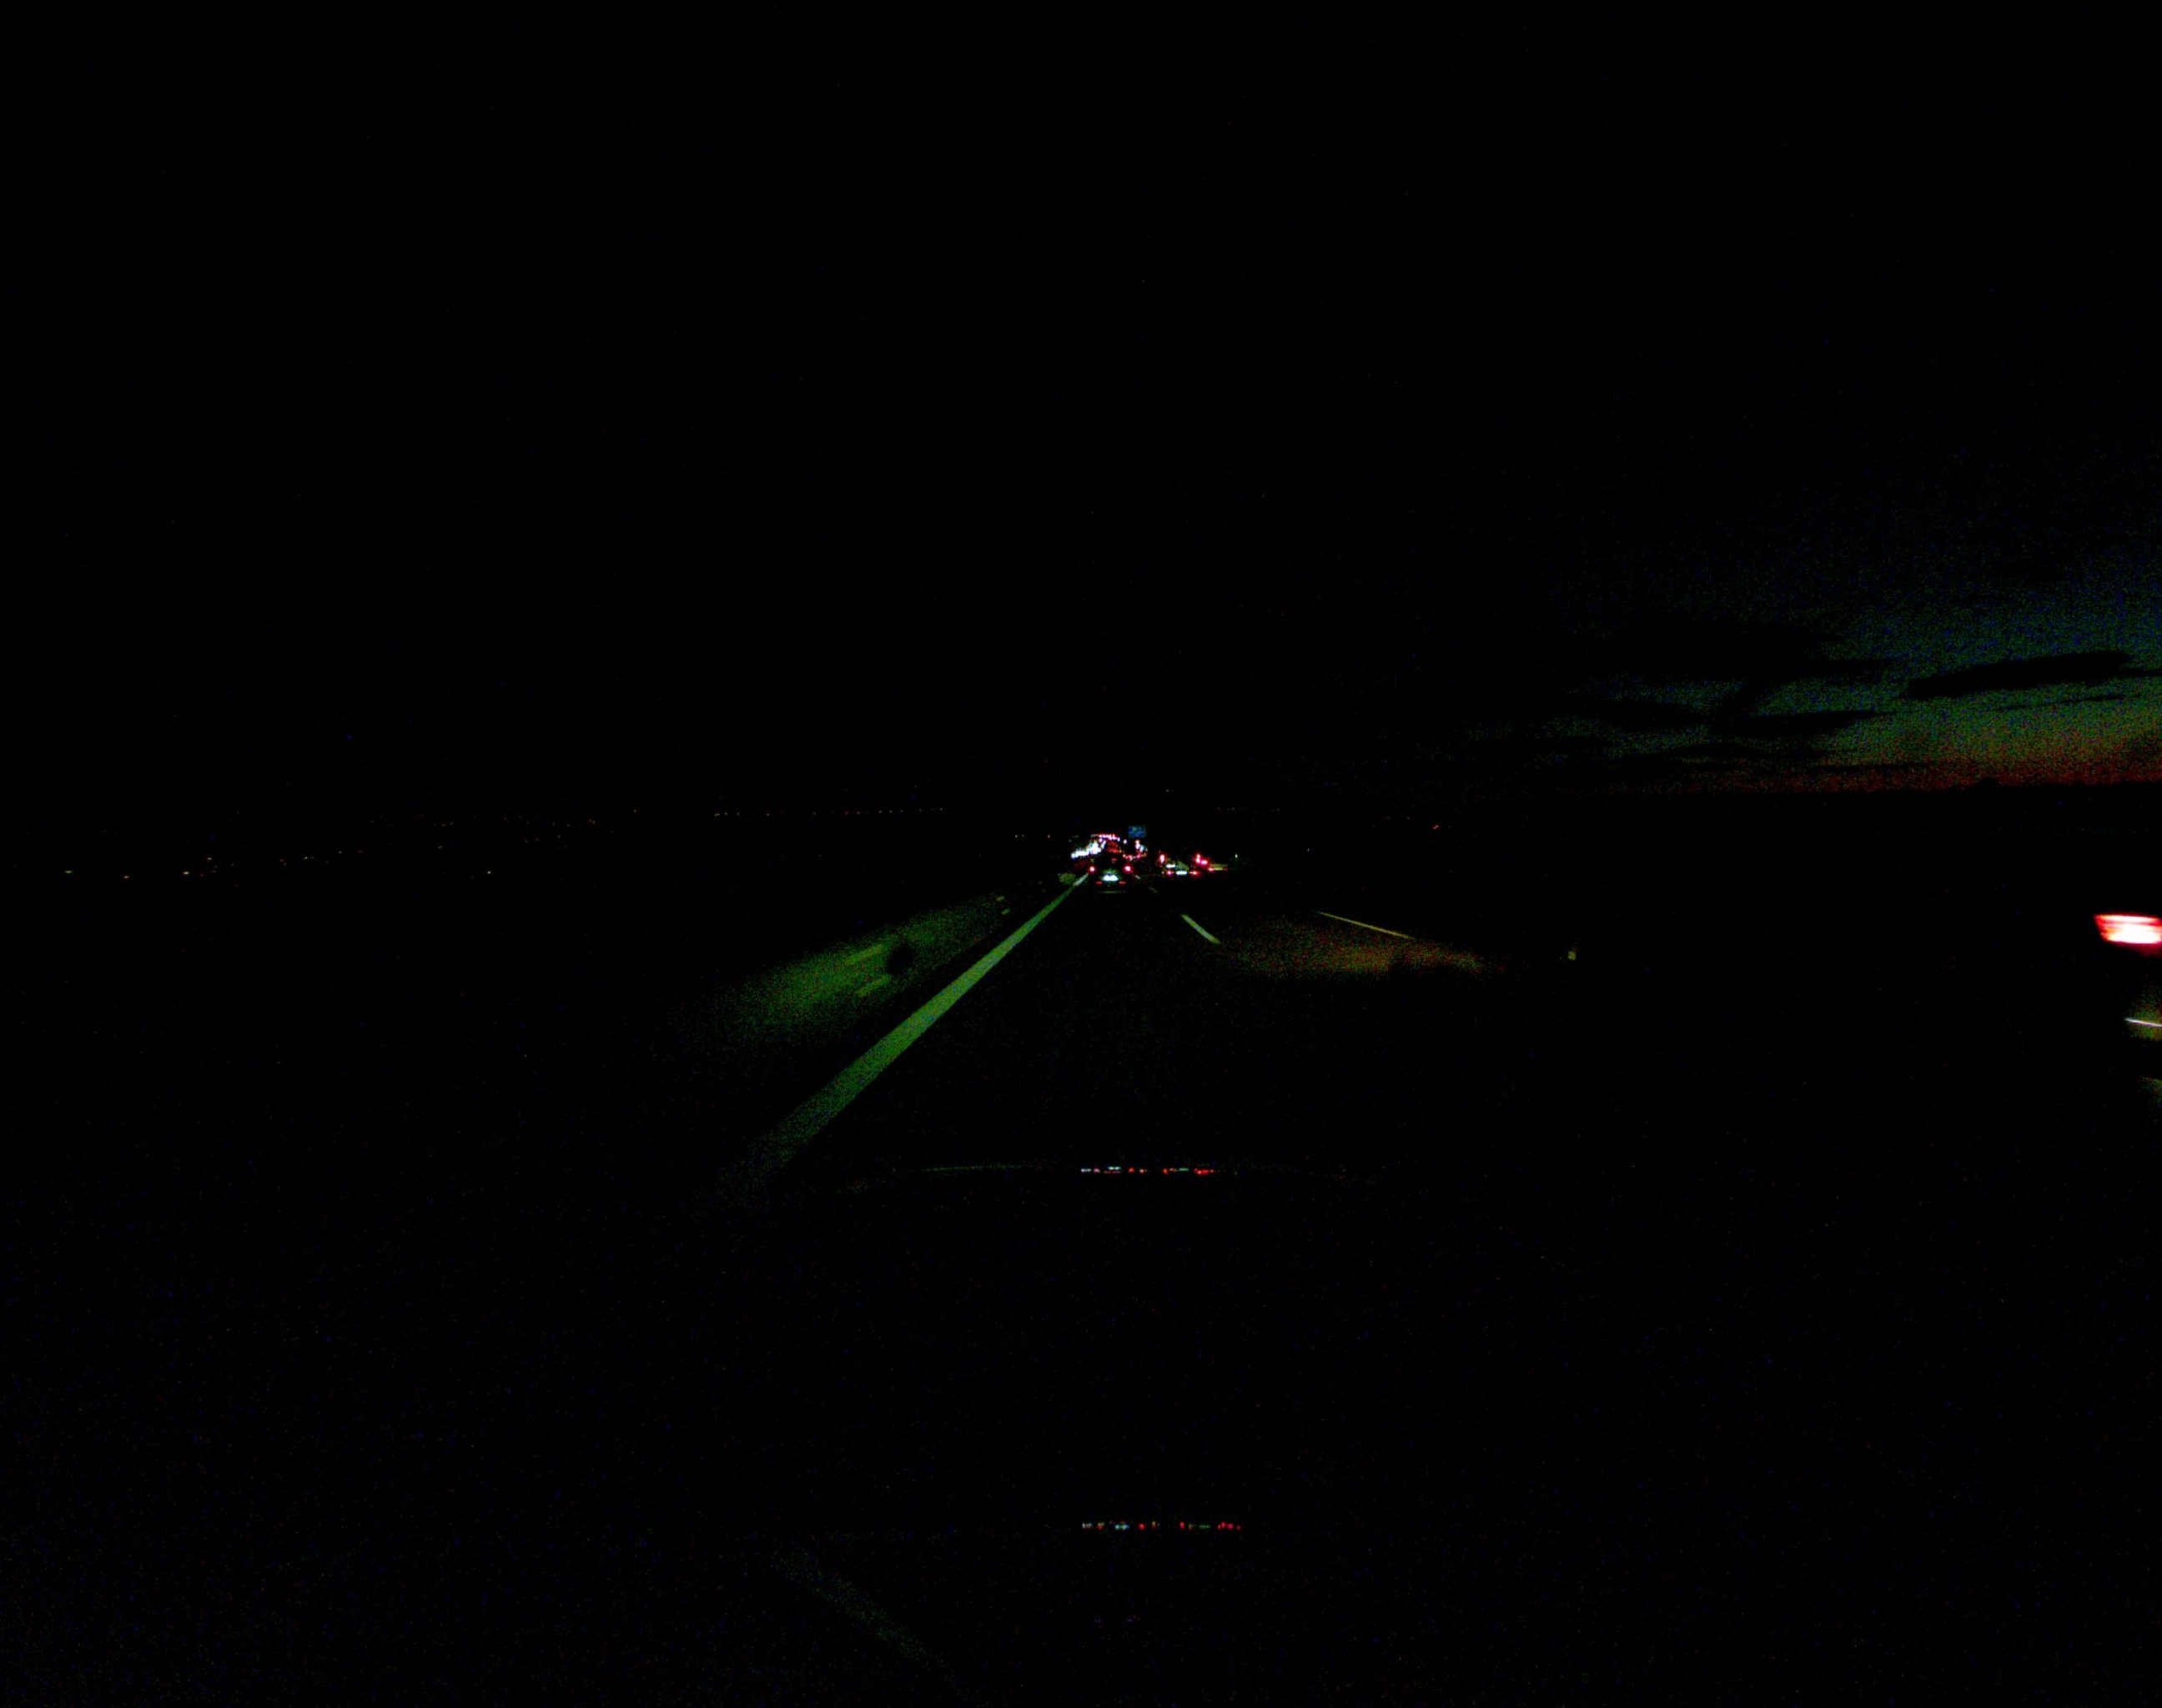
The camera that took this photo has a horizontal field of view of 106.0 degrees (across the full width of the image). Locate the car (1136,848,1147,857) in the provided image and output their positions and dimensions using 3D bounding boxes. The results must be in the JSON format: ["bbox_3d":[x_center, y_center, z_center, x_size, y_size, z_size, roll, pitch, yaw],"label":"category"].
[{"bbox_3d":[13.846,-0.346,186.570,2.342,2.075,4.726,-2,1,2],"label":"car"}]

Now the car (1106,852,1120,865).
[{"bbox_3d":[4.071,0.574,103.946,1.738,1.440,4.370,-2,1,2],"label":"car"}]

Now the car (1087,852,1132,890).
[{"bbox_3d":[1.208,0.695,34.624,1.786,1.469,3.775,-1,1,2],"label":"car"}]

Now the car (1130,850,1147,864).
[{"bbox_3d":[8.430,0.475,119.723,2.342,1.914,4.725,-2,0,2],"label":"car"}]

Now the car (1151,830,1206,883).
[{"bbox_3d":[5.035,0.102,42.737,2.342,2.535,5.704,-2,1,2],"label":"car"}]

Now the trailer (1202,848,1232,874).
[{"bbox_3d":[9.193,0.452,55.160,1.560,1.693,2.822,-2,0,2],"label":"trailer"}]

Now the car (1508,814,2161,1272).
[{"bbox_3d":[4.624,0.623,5.061,1.640,1.596,4.511,-2,0,1],"label":"car"}]

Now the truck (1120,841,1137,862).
[{"bbox_3d":[9.212,-0.449,157.366,2.771,3.955,7.993,-2,0,1],"label":"truck"}]

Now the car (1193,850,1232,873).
[{"bbox_3d":[9.446,0.522,58.825,2.154,1.563,4.725,-1,0,2],"label":"car"}]
